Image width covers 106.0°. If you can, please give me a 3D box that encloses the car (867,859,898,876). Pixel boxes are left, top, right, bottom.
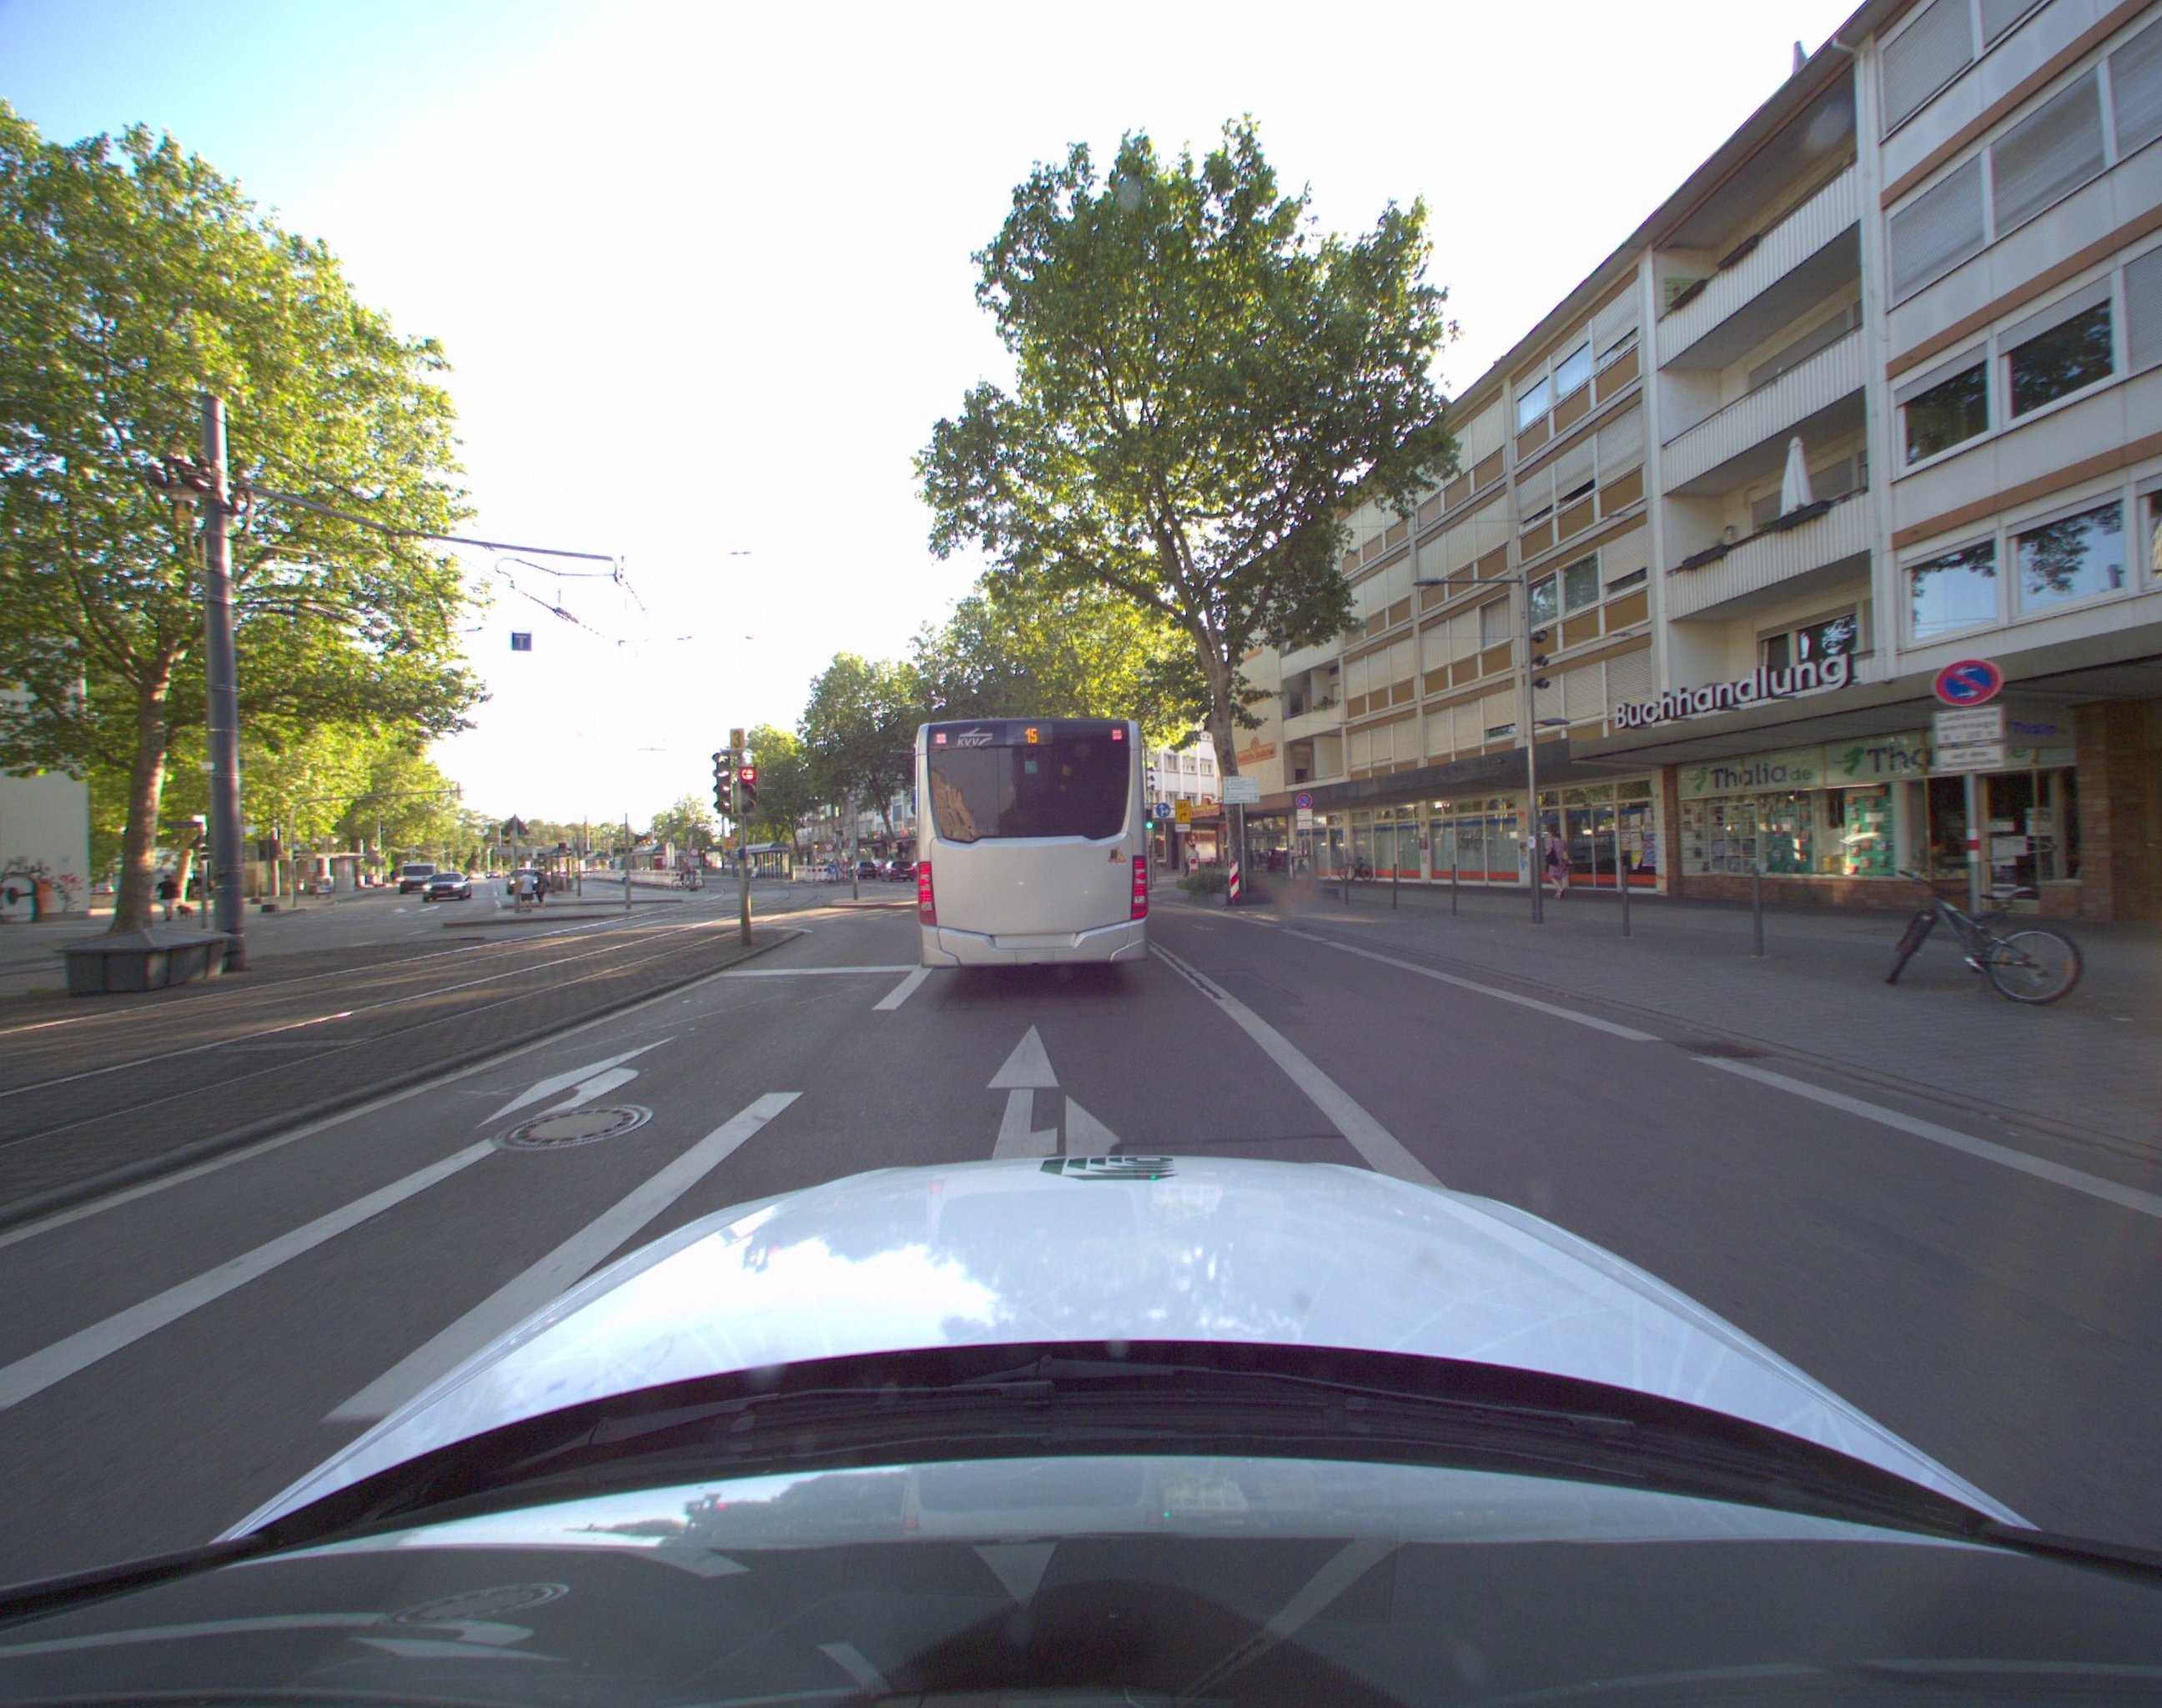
[{"bbox_3d":[-18.473,1.249,75.869,1.674,1.468,3.377,-5,2,-33],"label":"car"}]

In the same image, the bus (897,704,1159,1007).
[{"bbox_3d":[-0.732,0.040,13.647,2.651,3.098,10.206,-2,0,-2],"label":"bus"}]

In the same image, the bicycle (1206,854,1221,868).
[{"bbox_3d":[10.634,0.565,65.277,0.291,1.040,1.729,-5,-2,39],"label":"bicycle"}]

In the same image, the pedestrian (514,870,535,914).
[{"bbox_3d":[-19.530,1.315,28.576,0.523,1.504,0.588,-2,0,-30],"label":"pedestrian"}]

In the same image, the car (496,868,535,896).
[{"bbox_3d":[-35.751,1.748,51.549,1.900,1.585,4.162,-2,0,-34],"label":"car"}]

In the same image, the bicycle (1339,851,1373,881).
[{"bbox_3d":[10.522,0.442,31.177,0.438,1.092,1.454,-4,1,-15],"label":"bicycle"}]

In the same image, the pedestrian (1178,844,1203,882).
[{"bbox_3d":[5.170,0.419,38.470,0.838,1.712,0.788,-4,1,-20],"label":"pedestrian"}]

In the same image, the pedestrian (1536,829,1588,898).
[{"bbox_3d":[11.184,0.210,18.962,0.639,1.552,0.805,-2,0,-10],"label":"pedestrian"}]

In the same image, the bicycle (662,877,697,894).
[{"bbox_3d":[-24.879,1.934,50.451,1.855,0.942,0.458,-2,0,-37],"label":"bicycle"}]

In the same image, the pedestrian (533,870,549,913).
[{"bbox_3d":[-19.293,1.346,29.119,0.411,1.504,0.512,-2,0,-30],"label":"pedestrian"}]

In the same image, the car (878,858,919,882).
[{"bbox_3d":[-12.116,1.063,53.976,1.765,1.464,3.965,-2,0,-26],"label":"car"}]

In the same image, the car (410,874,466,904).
[{"bbox_3d":[-34.822,1.856,44.218,1.899,1.472,4.164,-2,0,-32],"label":"car"}]

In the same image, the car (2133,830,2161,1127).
[{"bbox_3d":[6.295,0.575,1.886,1.773,1.496,4.567,-4,0,0],"label":"car"}]

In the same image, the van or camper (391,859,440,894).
[{"bbox_3d":[-49.293,1.668,60.435,2.183,2.319,5.050,-4,1,-34],"label":"van or camper"}]

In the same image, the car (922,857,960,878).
[{"bbox_3d":[-11.197,1.063,64.966,1.674,1.516,3.378,-5,2,-32],"label":"car"}]

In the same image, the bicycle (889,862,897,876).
[{"bbox_3d":[-16.780,1.341,72.644,0.508,1.211,2.081,-2,0,-16],"label":"bicycle"}]

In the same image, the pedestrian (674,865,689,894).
[{"bbox_3d":[-24.587,1.554,50.119,0.725,1.725,0.395,-2,0,-37],"label":"pedestrian"}]

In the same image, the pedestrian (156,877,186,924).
[{"bbox_3d":[-34.119,1.744,30.537,0.426,1.710,0.681,0,0,36],"label":"pedestrian"}]

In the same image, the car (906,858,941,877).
[{"bbox_3d":[-13.254,1.151,68.433,1.675,1.394,3.376,-5,2,-34],"label":"car"}]

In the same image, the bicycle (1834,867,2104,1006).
[{"bbox_3d":[7.984,0.682,7.443,0.510,1.070,1.658,-4,0,-5],"label":"bicycle"}]
